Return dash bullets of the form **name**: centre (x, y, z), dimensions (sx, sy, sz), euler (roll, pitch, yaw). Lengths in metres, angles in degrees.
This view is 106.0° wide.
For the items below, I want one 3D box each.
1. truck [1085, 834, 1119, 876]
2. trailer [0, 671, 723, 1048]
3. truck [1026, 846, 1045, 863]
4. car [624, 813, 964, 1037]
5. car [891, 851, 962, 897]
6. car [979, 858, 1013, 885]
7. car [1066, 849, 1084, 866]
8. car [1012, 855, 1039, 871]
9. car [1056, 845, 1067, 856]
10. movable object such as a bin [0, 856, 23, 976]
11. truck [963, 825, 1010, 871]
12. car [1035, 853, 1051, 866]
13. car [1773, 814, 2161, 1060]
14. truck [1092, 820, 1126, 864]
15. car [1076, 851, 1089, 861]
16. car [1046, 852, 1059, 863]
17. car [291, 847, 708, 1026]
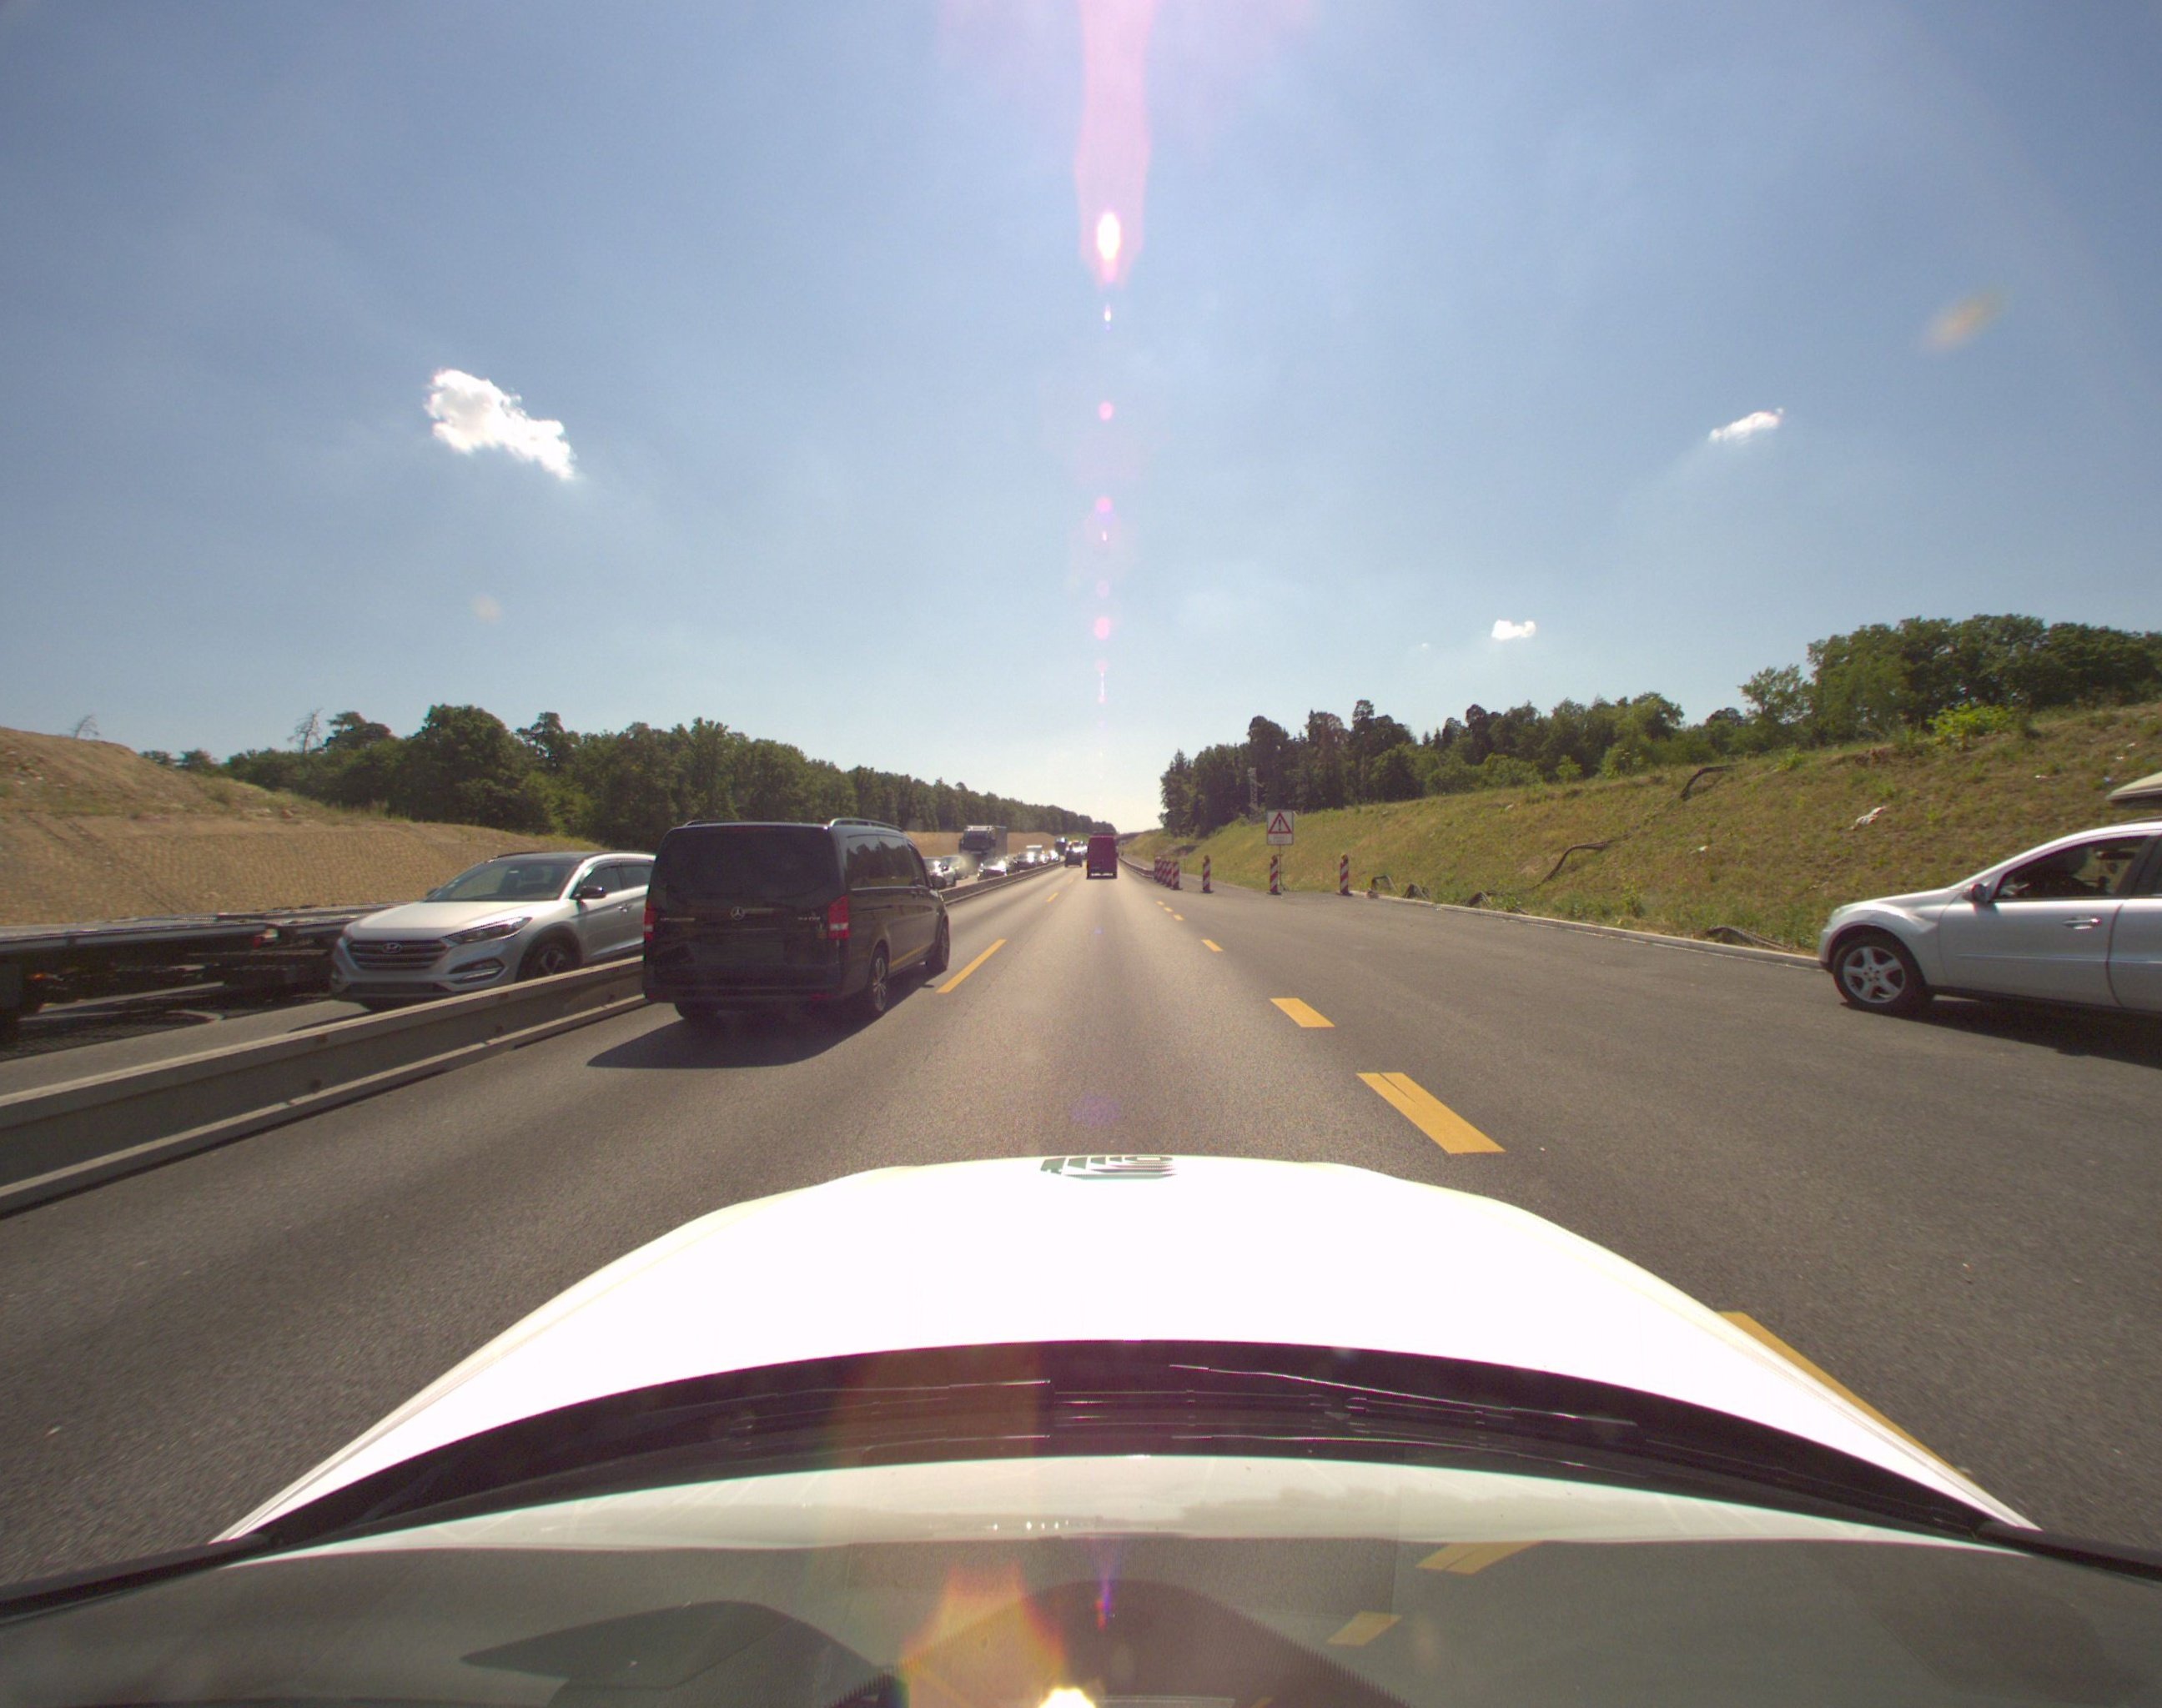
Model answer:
- **truck**: centre (1.373, 0.132, 53.488), dimensions (2.145, 2.590, 5.333), euler (0, -1, 1)
- **trailer**: centre (-9.401, 0.085, 10.357), dimensions (2.337, 2.932, 15.278), euler (0, -1, 2)
- **truck**: centre (-6.773, 0.084, 122.189), dimensions (2.390, 2.358, 5.229), euler (0, -1, 2)
- **car**: centre (-2.766, 0.610, 9.487), dimensions (1.867, 1.851, 5.480), euler (0, -1, 2)
- **car**: centre (-5.633, 0.732, 30.160), dimensions (1.618, 1.557, 4.072), euler (0, -1, 3)
- **car**: centre (-5.195, 1.096, 49.908), dimensions (1.677, 1.596, 3.225), euler (0, -1, 1)
- **car**: centre (-0.650, 0.391, 88.051), dimensions (1.745, 1.824, 4.784), euler (0, 0, 2)
- **car**: centre (-4.672, 0.767, 69.100), dimensions (1.834, 1.327, 3.944), euler (0, -1, 3)
- **car**: centre (-4.491, -0.835, 188.042), dimensions (2.377, 2.580, 3.999), euler (0, -1, 0)
- **movable object such as a bin**: centre (-29.202, 1.661, 17.917), dimensions (2.160, 3.109, 7.168), euler (-3, 0, 2)
- **truck**: centre (-7.926, -0.360, 69.417), dimensions (2.499, 3.617, 9.645), euler (0, -1, 2)
- **car**: centre (-4.013, 0.587, 86.378), dimensions (1.458, 1.327, 3.373), euler (0, -1, 3)
- **car**: centre (8.239, 0.567, 6.177), dimensions (1.770, 1.677, 4.851), euler (0, 0, -2)
- **truck**: centre (3.879, -1.501, 113.178), dimensions (4.384, 5.496, 16.607), euler (0, -1, 2)
- **car**: centre (0.281, 0.290, 127.655), dimensions (1.824, 1.522, 3.962), euler (0, -1, 2)
- **car**: centre (-3.718, 0.484, 107.834), dimensions (1.458, 1.327, 3.373), euler (0, -1, 3)
- **car**: centre (-6.319, 0.799, 9.641), dimensions (1.719, 1.630, 4.390), euler (0, -1, 0)
